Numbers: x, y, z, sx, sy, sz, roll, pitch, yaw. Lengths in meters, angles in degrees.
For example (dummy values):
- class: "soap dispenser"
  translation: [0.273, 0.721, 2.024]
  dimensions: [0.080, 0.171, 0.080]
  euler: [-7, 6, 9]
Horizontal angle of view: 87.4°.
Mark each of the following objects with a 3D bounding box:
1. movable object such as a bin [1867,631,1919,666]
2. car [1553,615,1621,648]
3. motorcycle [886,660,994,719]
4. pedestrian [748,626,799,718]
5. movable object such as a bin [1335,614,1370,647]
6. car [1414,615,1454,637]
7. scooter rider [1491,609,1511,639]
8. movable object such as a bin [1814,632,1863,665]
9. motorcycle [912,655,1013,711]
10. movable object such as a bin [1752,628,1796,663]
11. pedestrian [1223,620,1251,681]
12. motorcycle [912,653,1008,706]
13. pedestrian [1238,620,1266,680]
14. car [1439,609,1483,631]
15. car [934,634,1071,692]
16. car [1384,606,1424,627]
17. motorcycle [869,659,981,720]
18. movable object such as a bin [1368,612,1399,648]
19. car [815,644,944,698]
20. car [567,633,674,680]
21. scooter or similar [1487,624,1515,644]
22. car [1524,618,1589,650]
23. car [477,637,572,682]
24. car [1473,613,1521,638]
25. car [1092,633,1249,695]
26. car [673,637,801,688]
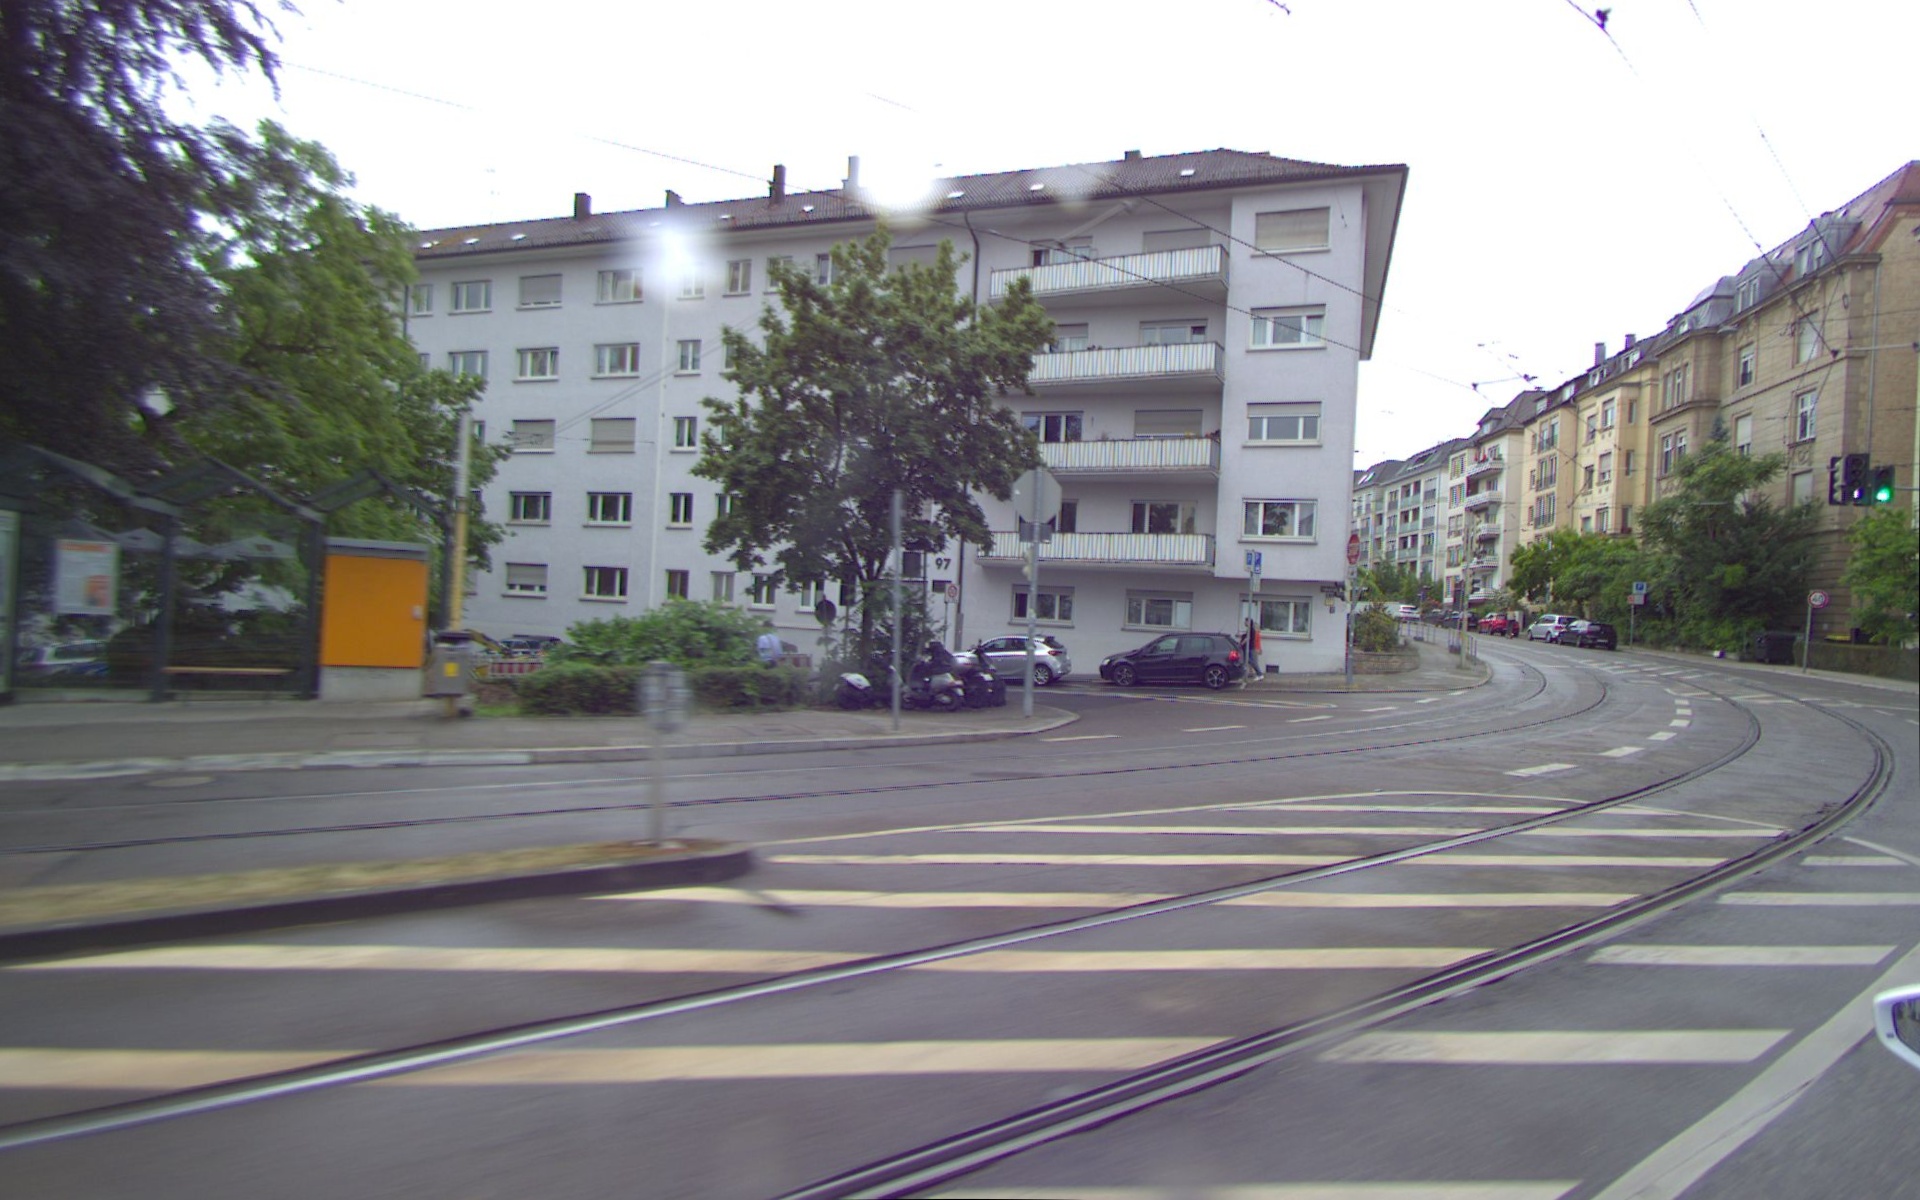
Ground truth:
- class: "movable object such as a bin"
  translation: [40.372, 2.086, 43.404]
  dimensions: [1.209, 1.444, 1.308]
  euler: [1, 0, 13]
- class: "car"
  translation: [33.555, 1.676, 53.869]
  dimensions: [1.736, 1.409, 4.001]
  euler: [4, 3, 12]
- class: "motorcycle"
  translation: [-0.401, 1.774, 20.069]
  dimensions: [2.080, 1.063, 0.485]
  euler: [1, 2, 12]
- class: "pedestrian"
  translation: [-3.545, 1.347, 19.110]
  dimensions: [0.767, 1.706, 0.565]
  euler: [2, -2, -34]
- class: "movable object such as a bin"
  translation: [17.461, 1.359, 44.736]
  dimensions: [1.346, 1.354, 1.325]
  euler: [1, 2, 19]
- class: "car"
  translation: [38.252, 2.082, 81.191]
  dimensions: [1.530, 1.456, 4.305]
  euler: [4, 1, 6]
- class: "scooter rider"
  translation: [32.585, 1.422, 60.502]
  dimensions: [0.613, 1.728, 0.844]
  euler: [5, 2, 1]
- class: "movable object such as a bin"
  translation: [38.367, 2.106, 43.881]
  dimensions: [1.196, 1.326, 1.169]
  euler: [1, 0, 13]
- class: "motorcycle"
  translation: [0.056, 1.749, 21.324]
  dimensions: [2.080, 1.063, 0.485]
  euler: [1, 2, 12]
- class: "movable object such as a bin"
  translation: [35.735, 1.995, 44.133]
  dimensions: [1.204, 1.422, 0.823]
  euler: [1, 2, 6]
- class: "pedestrian"
  translation: [8.152, 1.467, 29.525]
  dimensions: [0.730, 1.723, 0.673]
  euler: [1, 2, 19]
- class: "motorcycle"
  translation: [-0.008, 1.764, 22.448]
  dimensions: [2.080, 1.063, 0.485]
  euler: [1, 2, 12]
- class: "pedestrian"
  translation: [8.772, 1.500, 30.171]
  dimensions: [0.730, 1.723, 0.673]
  euler: [1, 2, 19]
- class: "car"
  translation: [37.503, 1.478, 75.213]
  dimensions: [1.654, 1.456, 4.066]
  euler: [4, 1, 8]
- class: "car"
  translation: [1.281, 1.849, 30.072]
  dimensions: [3.813, 1.474, 1.654]
  euler: [0, 2, 17]
- class: "car"
  translation: [39.485, 1.481, 89.507]
  dimensions: [1.806, 1.594, 4.249]
  euler: [5, 1, 4]
- class: "motorcycle"
  translation: [-0.666, 1.702, 19.282]
  dimensions: [2.080, 1.063, 0.485]
  euler: [1, 1, 12]
- class: "movable object such as a bin"
  translation: [18.687, 1.318, 44.327]
  dimensions: [1.166, 1.481, 1.290]
  euler: [1, 2, 19]
- class: "car"
  translation: [-2.498, 2.185, 31.436]
  dimensions: [3.674, 1.460, 1.620]
  euler: [1, -1, 17]
- class: "car"
  translation: [-11.729, 1.909, 34.712]
  dimensions: [3.259, 1.460, 1.526]
  euler: [1, -1, 21]
- class: "scooter or similar"
  translation: [32.580, 2.045, 60.531]
  dimensions: [0.505, 1.063, 2.009]
  euler: [5, 1, 1]
- class: "car"
  translation: [34.726, 1.930, 58.593]
  dimensions: [1.735, 1.625, 4.291]
  euler: [2, 1, 8]
- class: "car"
  translation: [-15.693, 2.110, 36.225]
  dimensions: [3.002, 1.460, 1.395]
  euler: [1, -1, 21]
- class: "car"
  translation: [36.073, 1.704, 67.528]
  dimensions: [1.692, 1.456, 3.843]
  euler: [4, 1, 11]
- class: "car"
  translation: [6.014, 1.777, 28.665]
  dimensions: [4.168, 1.474, 1.855]
  euler: [1, 2, 20]
- class: "car"
  translation: [-7.251, 2.000, 32.763]
  dimensions: [3.674, 1.460, 1.705]
  euler: [1, -1, 17]
